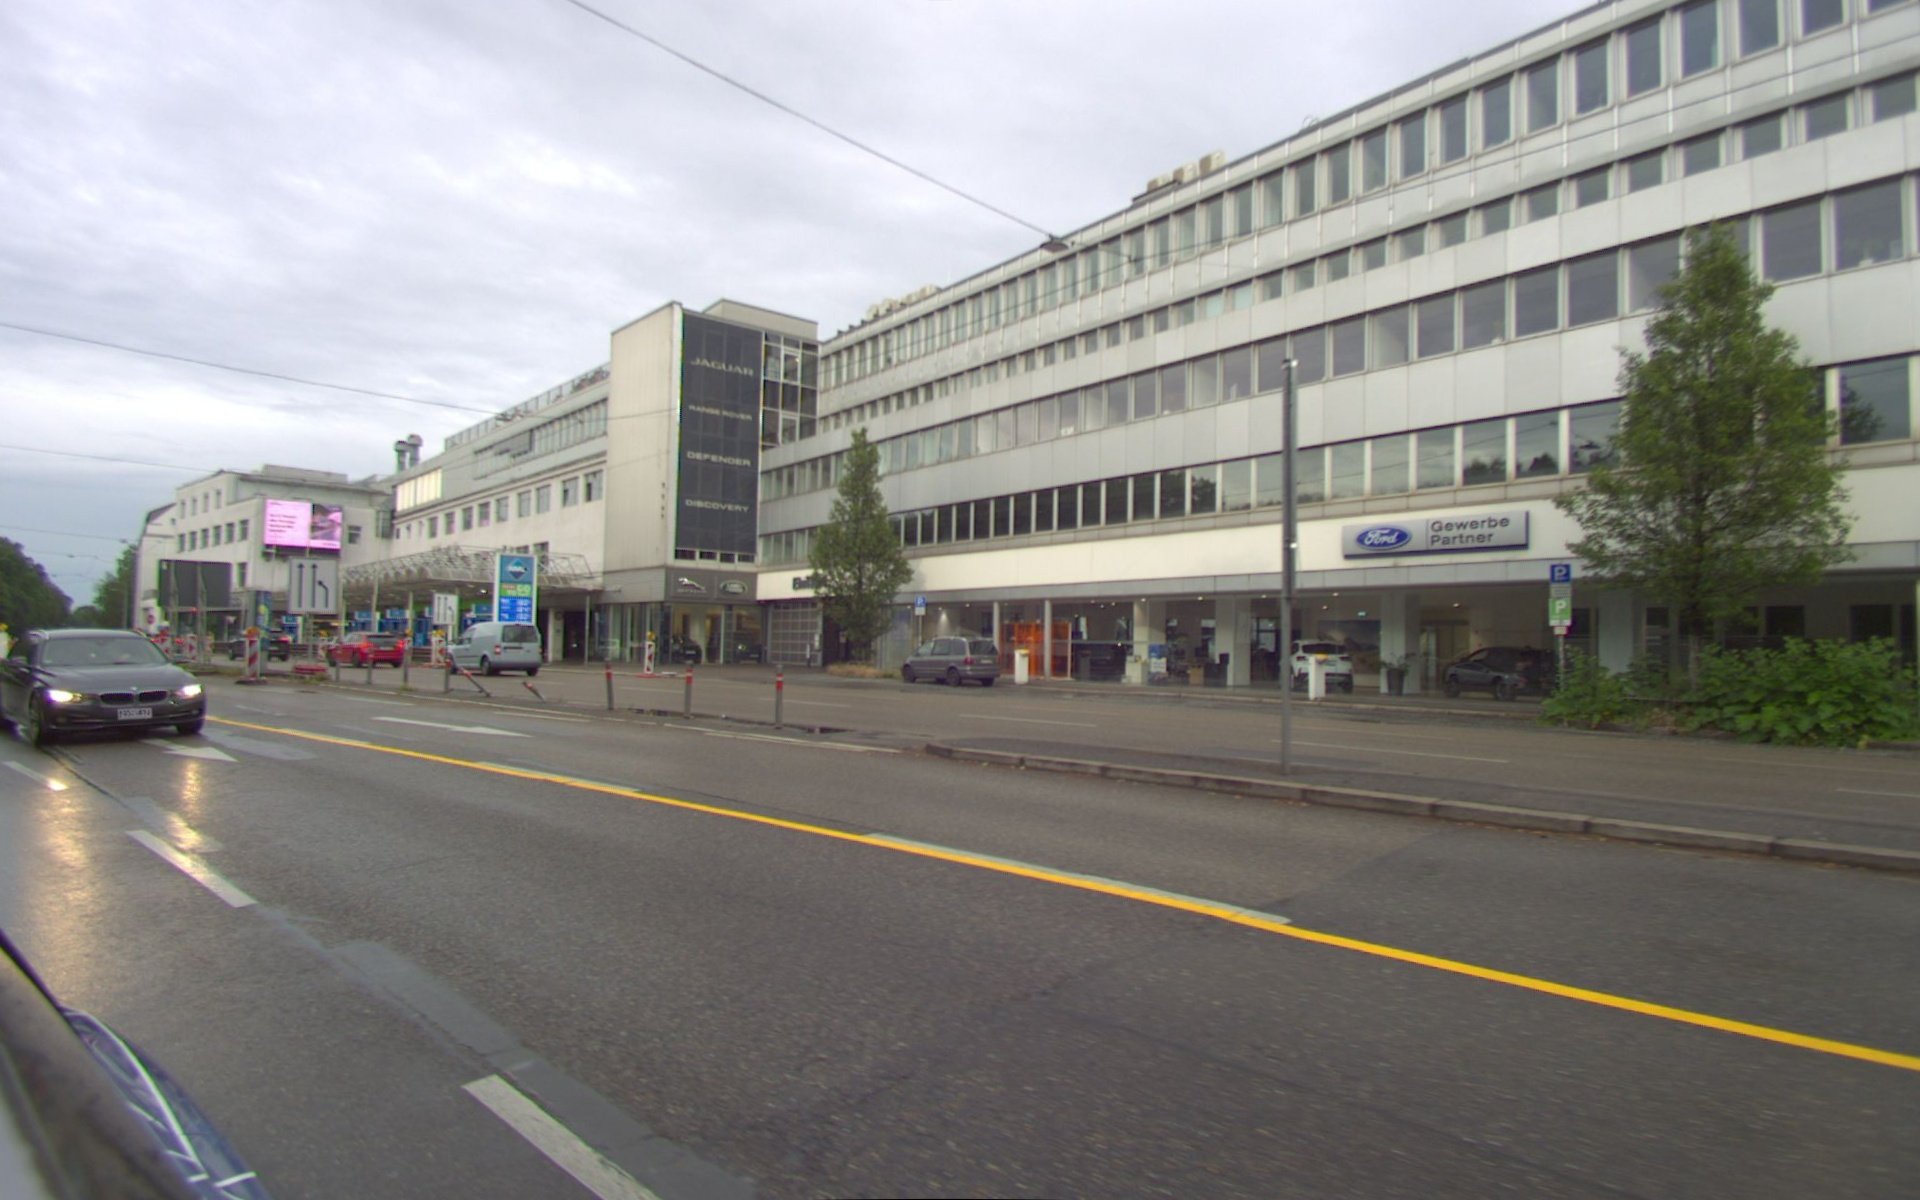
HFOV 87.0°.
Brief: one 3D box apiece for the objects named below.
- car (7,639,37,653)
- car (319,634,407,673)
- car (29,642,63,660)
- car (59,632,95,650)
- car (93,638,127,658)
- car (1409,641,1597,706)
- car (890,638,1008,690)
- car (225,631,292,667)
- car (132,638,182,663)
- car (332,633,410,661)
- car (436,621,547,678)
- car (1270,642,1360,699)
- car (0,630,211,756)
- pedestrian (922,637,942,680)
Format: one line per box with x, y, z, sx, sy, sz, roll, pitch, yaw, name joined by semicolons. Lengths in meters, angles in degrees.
-94.169;4.595;101.566;4.286;1.415;1.718;-1;-3;40;car
-24.807;2.188;41.987;4.371;1.514;1.810;-2;-5;41;car
-72.358;4.014;80.101;4.116;1.365;1.670;-2;-5;44;car
-88.427;4.137;101.315;4.828;1.720;1.959;-1;-4;40;car
-69.429;3.934;82.623;4.002;1.525;1.731;-1;-4;45;car
14.473;1.947;27.176;1.967;1.586;4.010;4;-4;-34;car
-0.475;2.343;37.450;1.824;1.792;4.739;4;-5;-38;car
-36.093;2.498;52.033;4.604;1.751;1.825;-2;-4;43;car
-52.085;3.249;65.588;4.299;1.570;1.788;-2;-4;42;car
-42.304;3.407;72.807;4.375;1.784;1.971;3;-4;-8;car
-15.997;1.679;34.445;4.298;1.799;1.716;-1;-5;40;car
11.450;2.280;32.921;1.832;1.664;4.376;1;-4;7;car
-12.156;1.173;14.073;4.172;1.461;1.742;-1;-1;38;car
-1.153;2.404;41.783;0.698;1.734;0.667;1;-4;7;pedestrian
